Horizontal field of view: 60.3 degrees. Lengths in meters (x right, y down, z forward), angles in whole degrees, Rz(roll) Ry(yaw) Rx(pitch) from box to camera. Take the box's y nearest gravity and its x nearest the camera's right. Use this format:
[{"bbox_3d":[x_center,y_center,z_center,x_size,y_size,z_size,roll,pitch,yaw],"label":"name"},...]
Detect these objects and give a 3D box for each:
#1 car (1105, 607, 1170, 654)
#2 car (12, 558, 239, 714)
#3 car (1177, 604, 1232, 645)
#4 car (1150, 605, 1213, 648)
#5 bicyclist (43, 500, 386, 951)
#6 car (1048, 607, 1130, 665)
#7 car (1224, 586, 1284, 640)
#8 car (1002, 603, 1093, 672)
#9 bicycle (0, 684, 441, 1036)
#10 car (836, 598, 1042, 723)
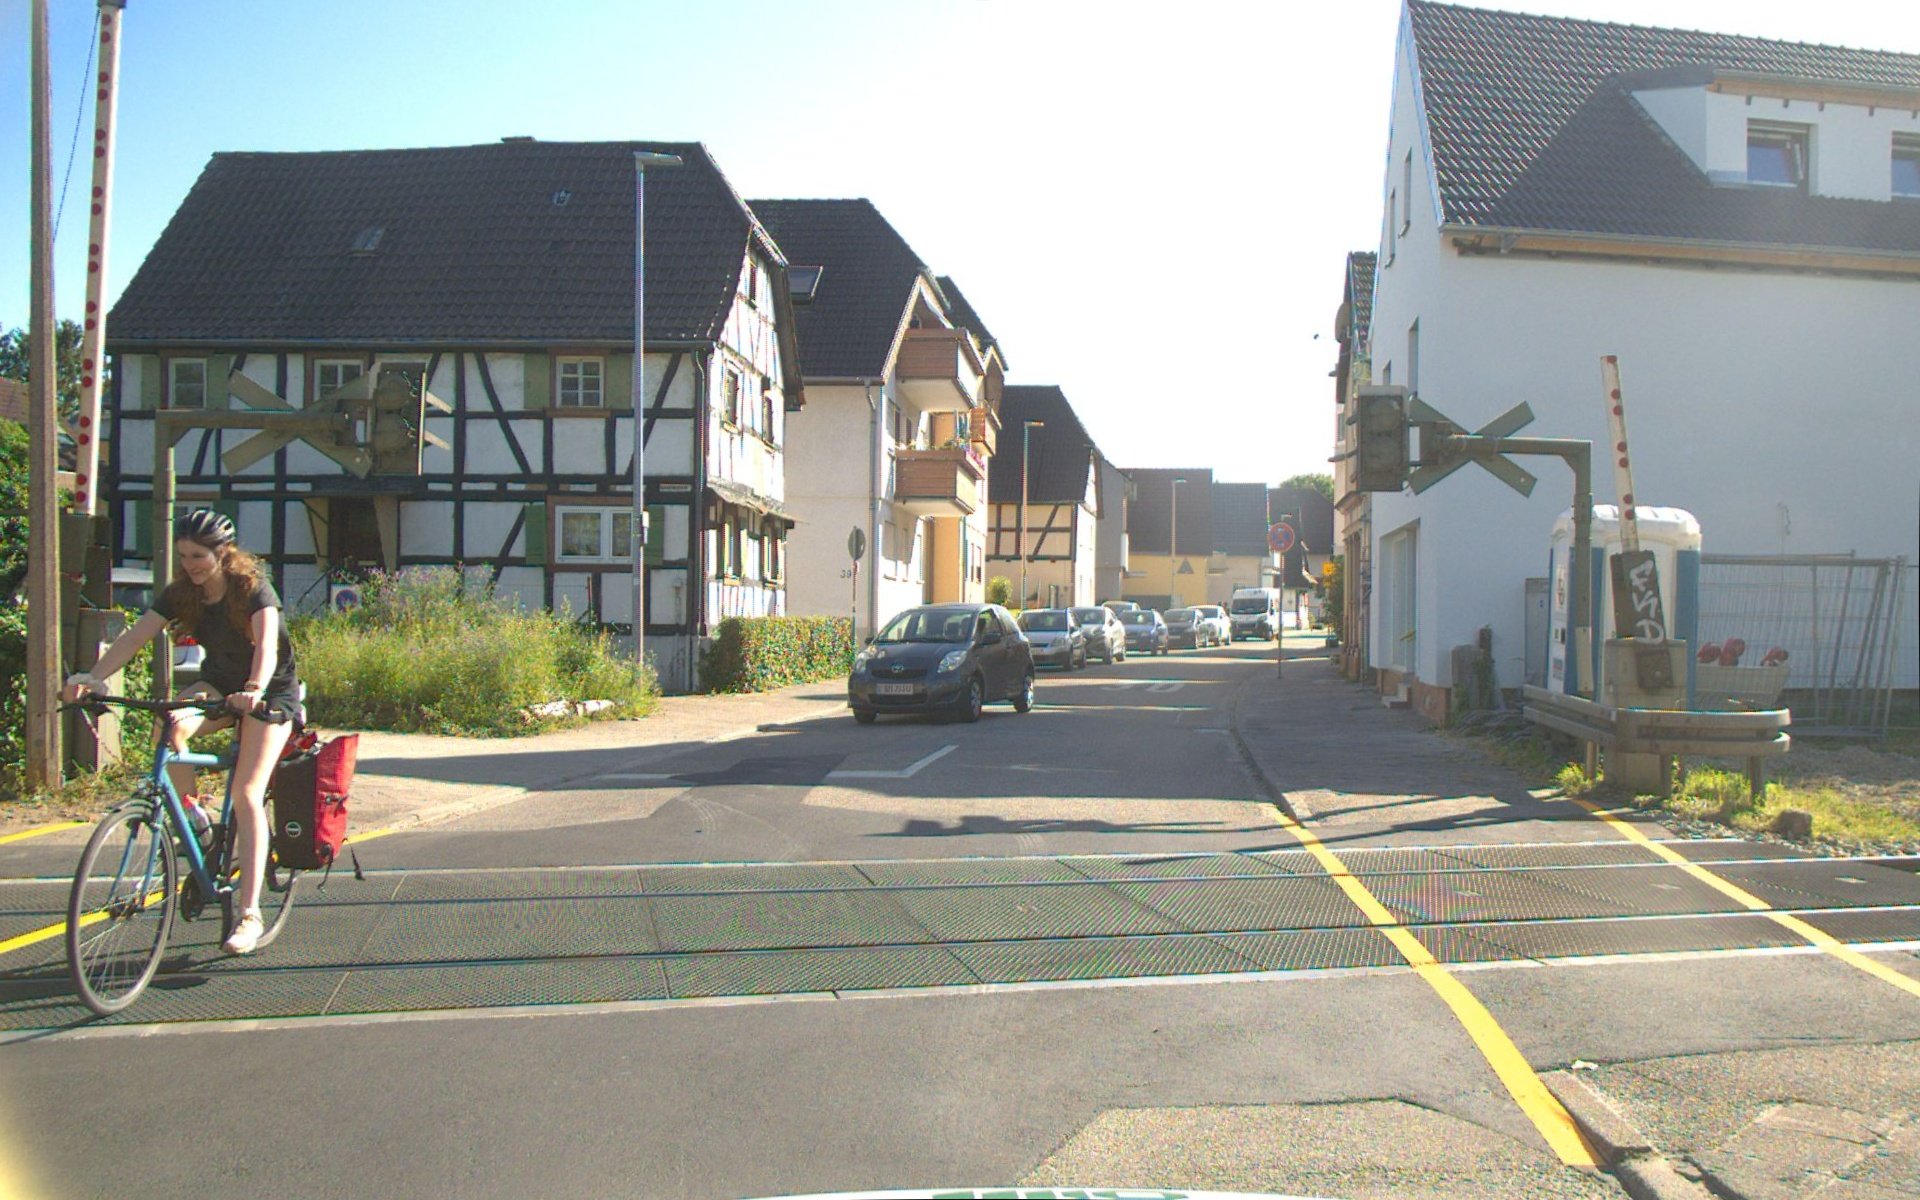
[{"bbox_3d":[5.830,0.971,53.932,1.604,1.466,4.078,-1,-1,13],"label":"car"},{"bbox_3d":[-9.653,0.382,18.990,1.670,1.592,3.949,3,-1,-36],"label":"car"},{"bbox_3d":[9.994,0.974,67.391,1.638,1.599,3.968,-1,-1,17],"label":"car"},{"bbox_3d":[8.482,0.996,63.118,1.668,1.545,4.123,-1,-1,18],"label":"car"},{"bbox_3d":[-2.766,0.443,6.236,0.830,1.568,0.873,0,-1,5],"label":"bicyclist"},{"bbox_3d":[3.586,0.961,45.498,1.638,1.532,4.098,-1,0,13],"label":"car"},{"bbox_3d":[14.184,0.629,79.545,2.033,2.436,5.210,-1,-1,19],"label":"car"},{"bbox_3d":[2.185,0.888,40.401,1.596,1.532,3.856,-3,-1,12],"label":"car"},{"bbox_3d":[-2.771,0.869,6.211,0.865,1.023,2.064,-1,-1,4],"label":"bicycle"},{"bbox_3d":[-0.187,0.783,22.325,1.651,1.537,3.656,-2,-1,18],"label":"car"}]
